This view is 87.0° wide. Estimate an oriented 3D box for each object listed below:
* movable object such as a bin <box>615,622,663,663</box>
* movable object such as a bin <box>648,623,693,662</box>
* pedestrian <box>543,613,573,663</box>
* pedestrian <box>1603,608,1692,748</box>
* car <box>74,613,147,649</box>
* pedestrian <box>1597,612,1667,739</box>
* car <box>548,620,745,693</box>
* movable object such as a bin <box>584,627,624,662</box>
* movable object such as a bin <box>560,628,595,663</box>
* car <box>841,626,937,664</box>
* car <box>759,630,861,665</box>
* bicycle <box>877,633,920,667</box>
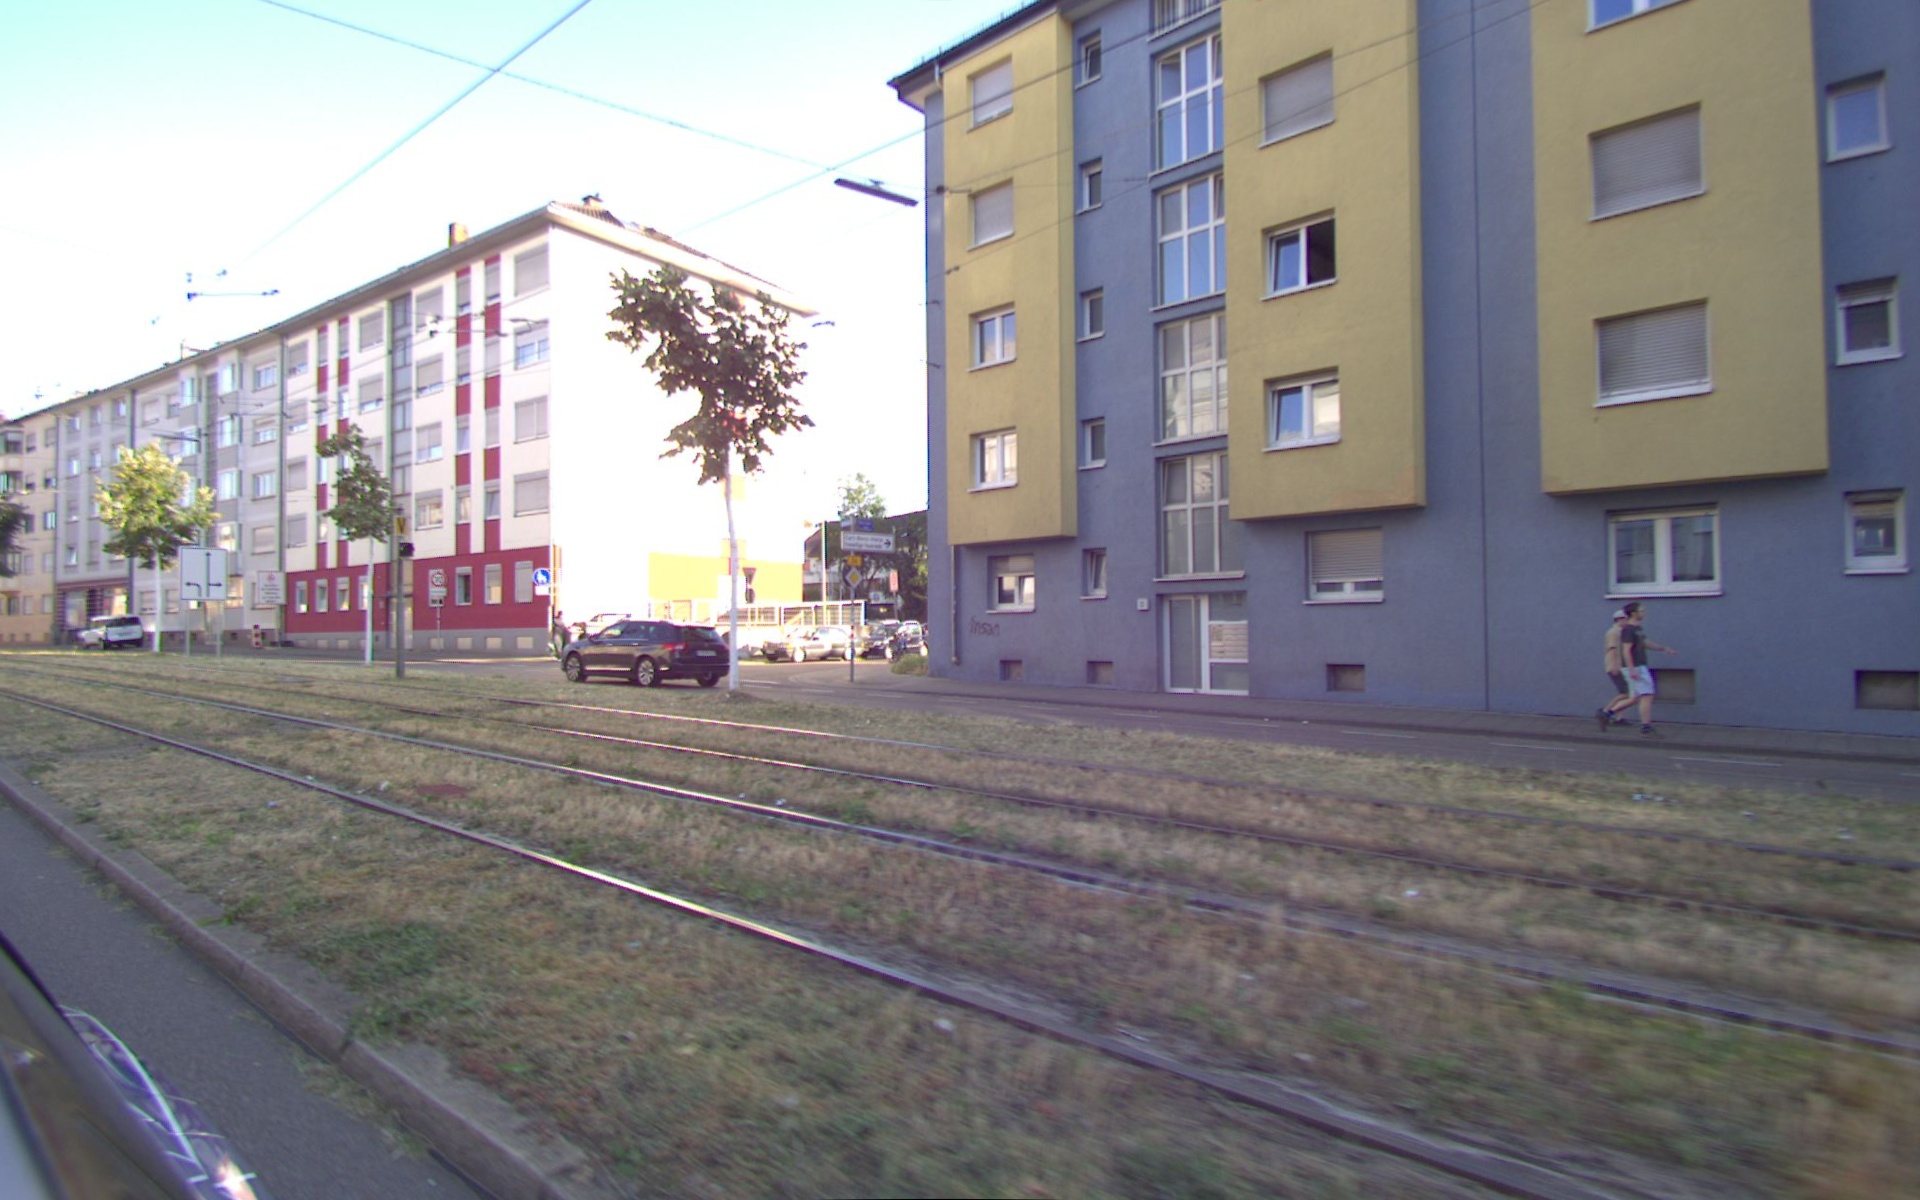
[{"bbox_3d":[-11.647,1.532,36.755,1.136,1.426,1.206,-1,-2,36],"label":"movable object such as a bin"},{"bbox_3d":[-10.835,1.571,37.872,1.106,1.426,1.206,-1,-2,36],"label":"movable object such as a bin"},{"bbox_3d":[-13.797,1.295,34.745,0.790,1.702,0.608,-2,-2,35],"label":"pedestrian"},{"bbox_3d":[9.292,1.026,13.673,0.885,1.786,0.587,-2,1,40],"label":"pedestrian"},{"bbox_3d":[-46.204,1.673,55.016,4.408,1.843,1.852,-2,-1,33],"label":"car"},{"bbox_3d":[9.527,1.050,14.341,0.706,1.707,0.610,-2,1,40],"label":"pedestrian"},{"bbox_3d":[-7.166,1.238,22.915,4.788,1.480,1.776,-1,-4,38],"label":"car"},{"bbox_3d":[-13.148,1.631,37.374,0.804,1.296,1.148,-1,-2,36],"label":"movable object such as a bin"},{"bbox_3d":[-13.779,1.631,36.462,0.804,1.235,0.858,-1,-2,36],"label":"movable object such as a bin"},{"bbox_3d":[-2.980,1.889,43.092,1.897,1.519,3.947,-1,-2,39],"label":"car"},{"bbox_3d":[-5.732,1.798,39.059,1.699,1.304,3.826,-2,-2,37],"label":"car"},{"bbox_3d":[-2.017,1.642,33.305,0.600,1.084,1.946,-1,-2,23],"label":"bicycle"}]
